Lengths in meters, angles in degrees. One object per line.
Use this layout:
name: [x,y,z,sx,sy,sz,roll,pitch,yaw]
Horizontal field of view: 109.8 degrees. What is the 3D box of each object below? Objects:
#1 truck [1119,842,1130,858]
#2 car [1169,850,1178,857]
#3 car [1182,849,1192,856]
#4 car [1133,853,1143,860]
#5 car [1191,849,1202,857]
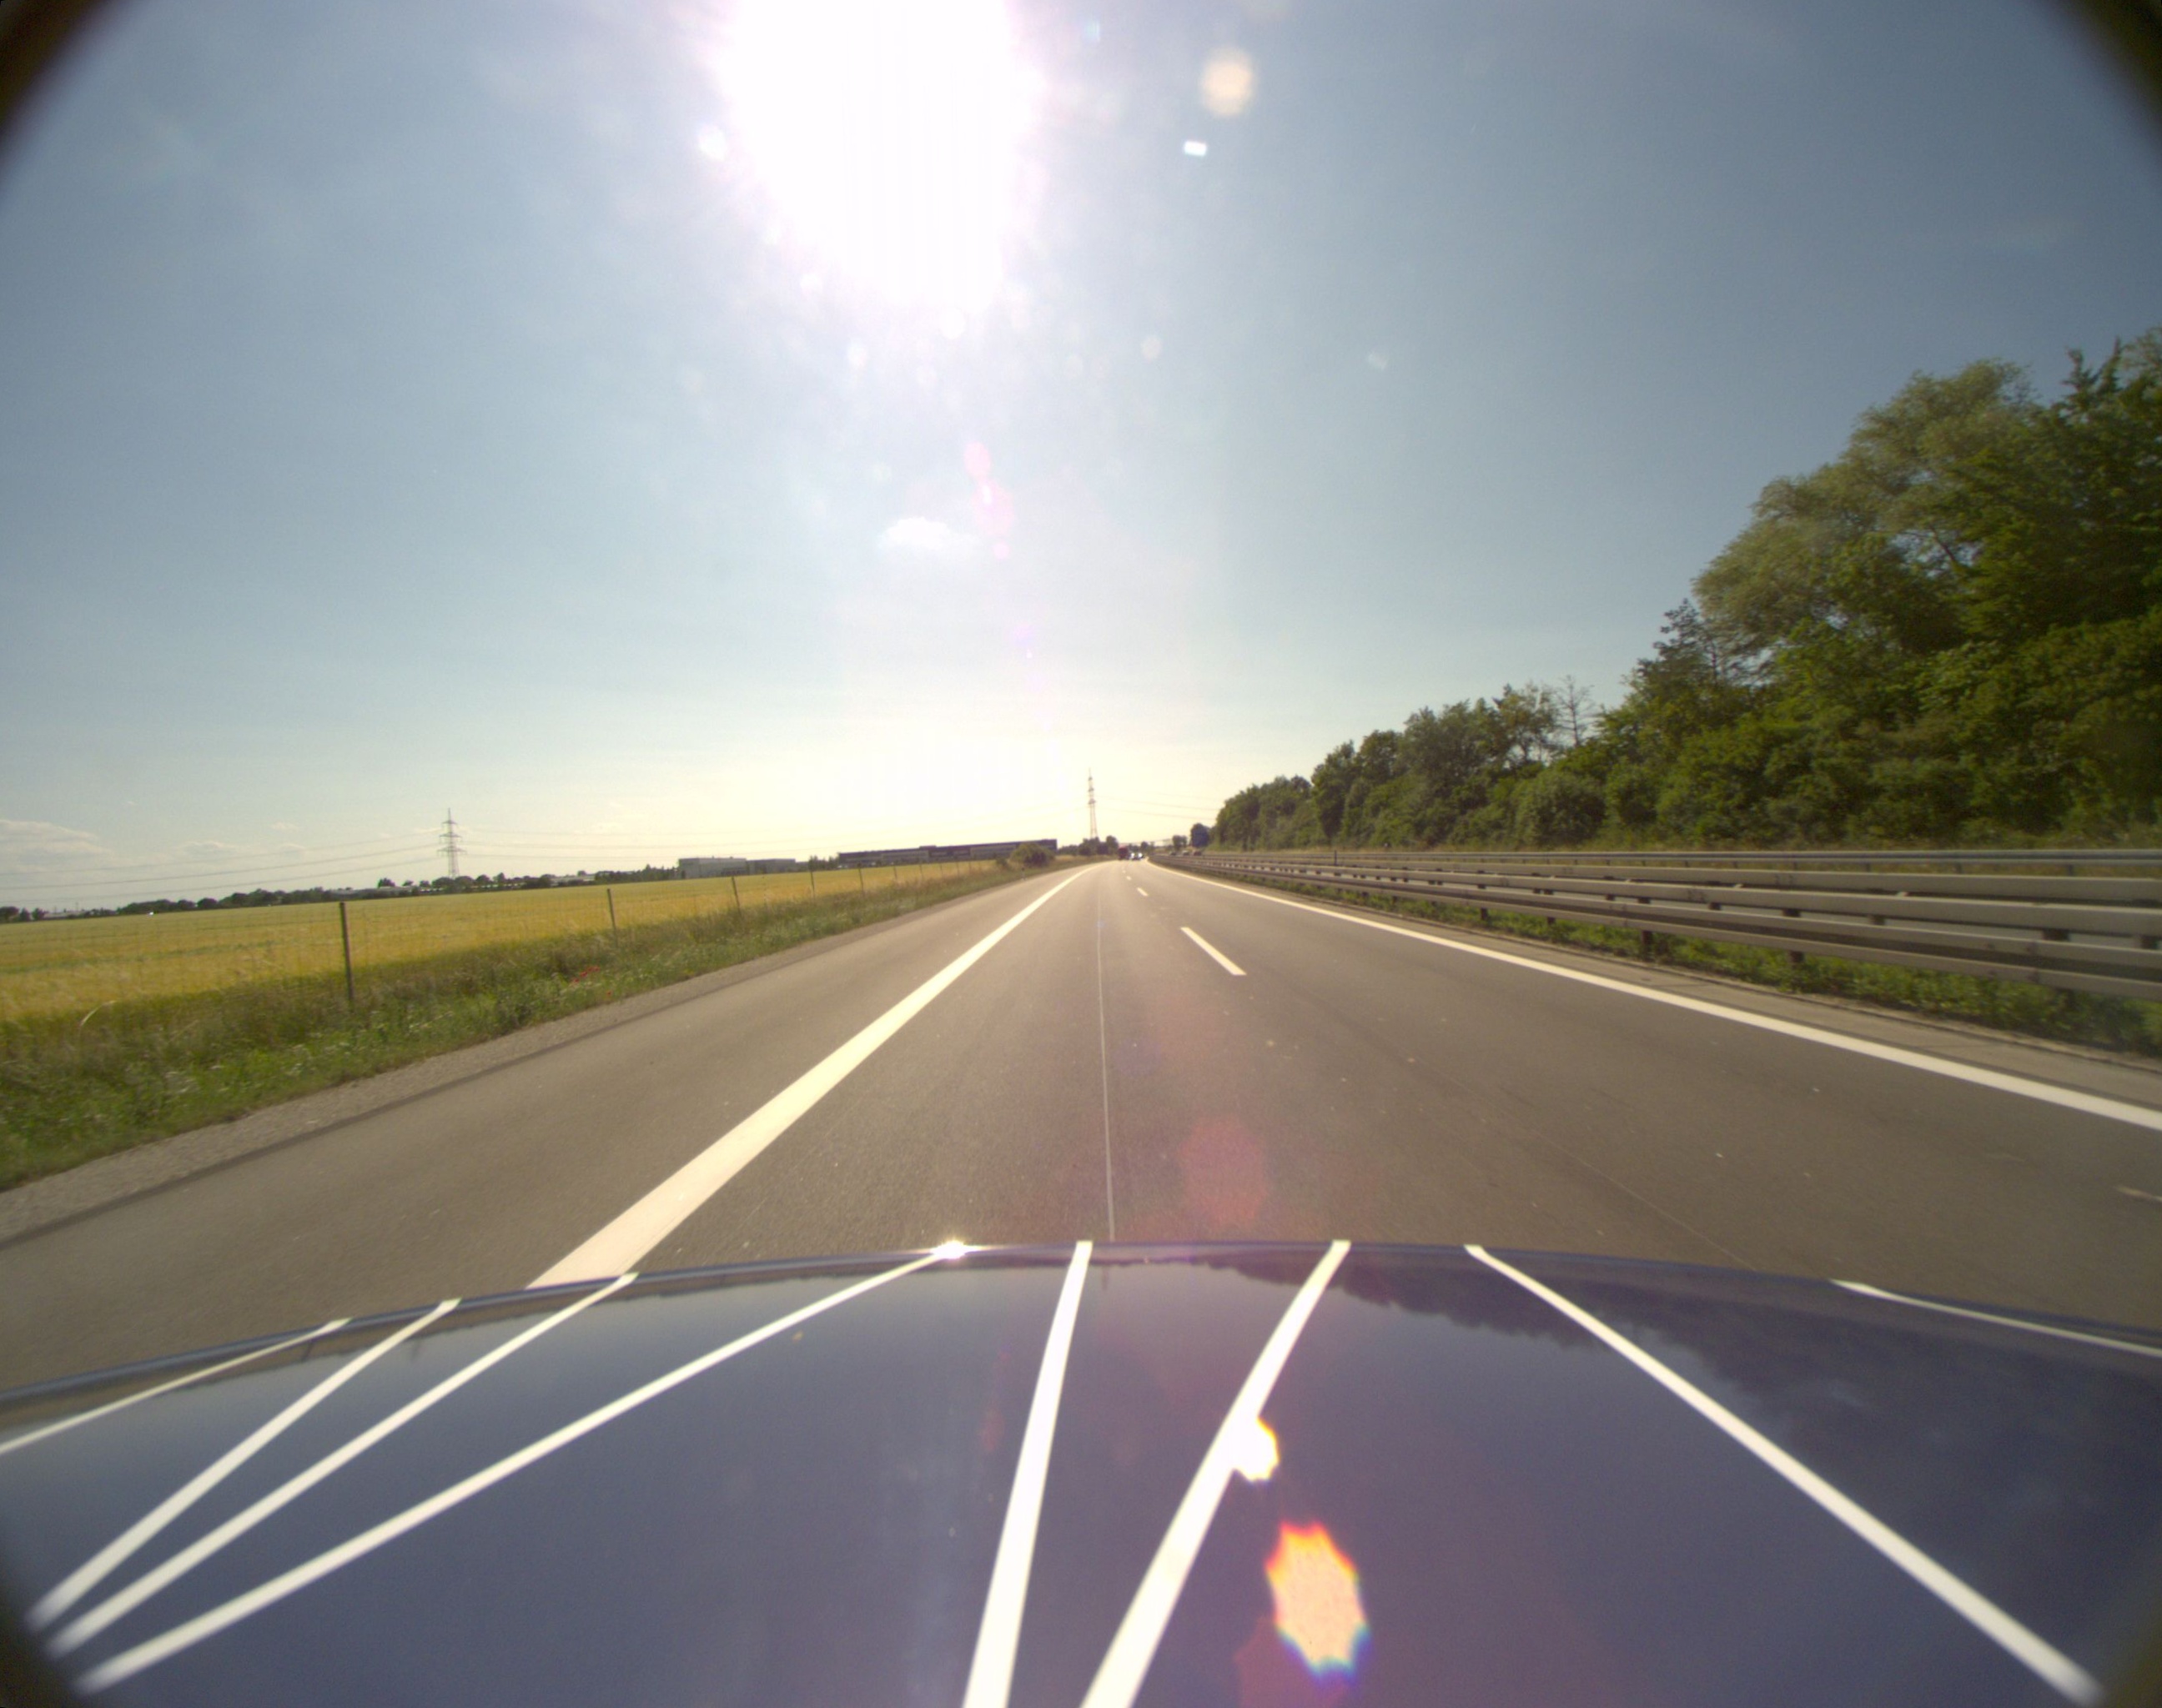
truck: [11.508,-1.076,201.128,2.570,3.938,8.646,-5,0,4]
car: [21.354,-0.206,176.345,1.653,1.484,4.540,-3,0,3]
car: [26.094,-0.426,187.437,1.998,1.603,4.637,-3,0,4]
car: [12.166,0.567,162.107,1.860,1.361,4.001,-3,0,5]
car: [22.843,-0.161,150.751,1.653,1.484,4.540,-3,0,3]
